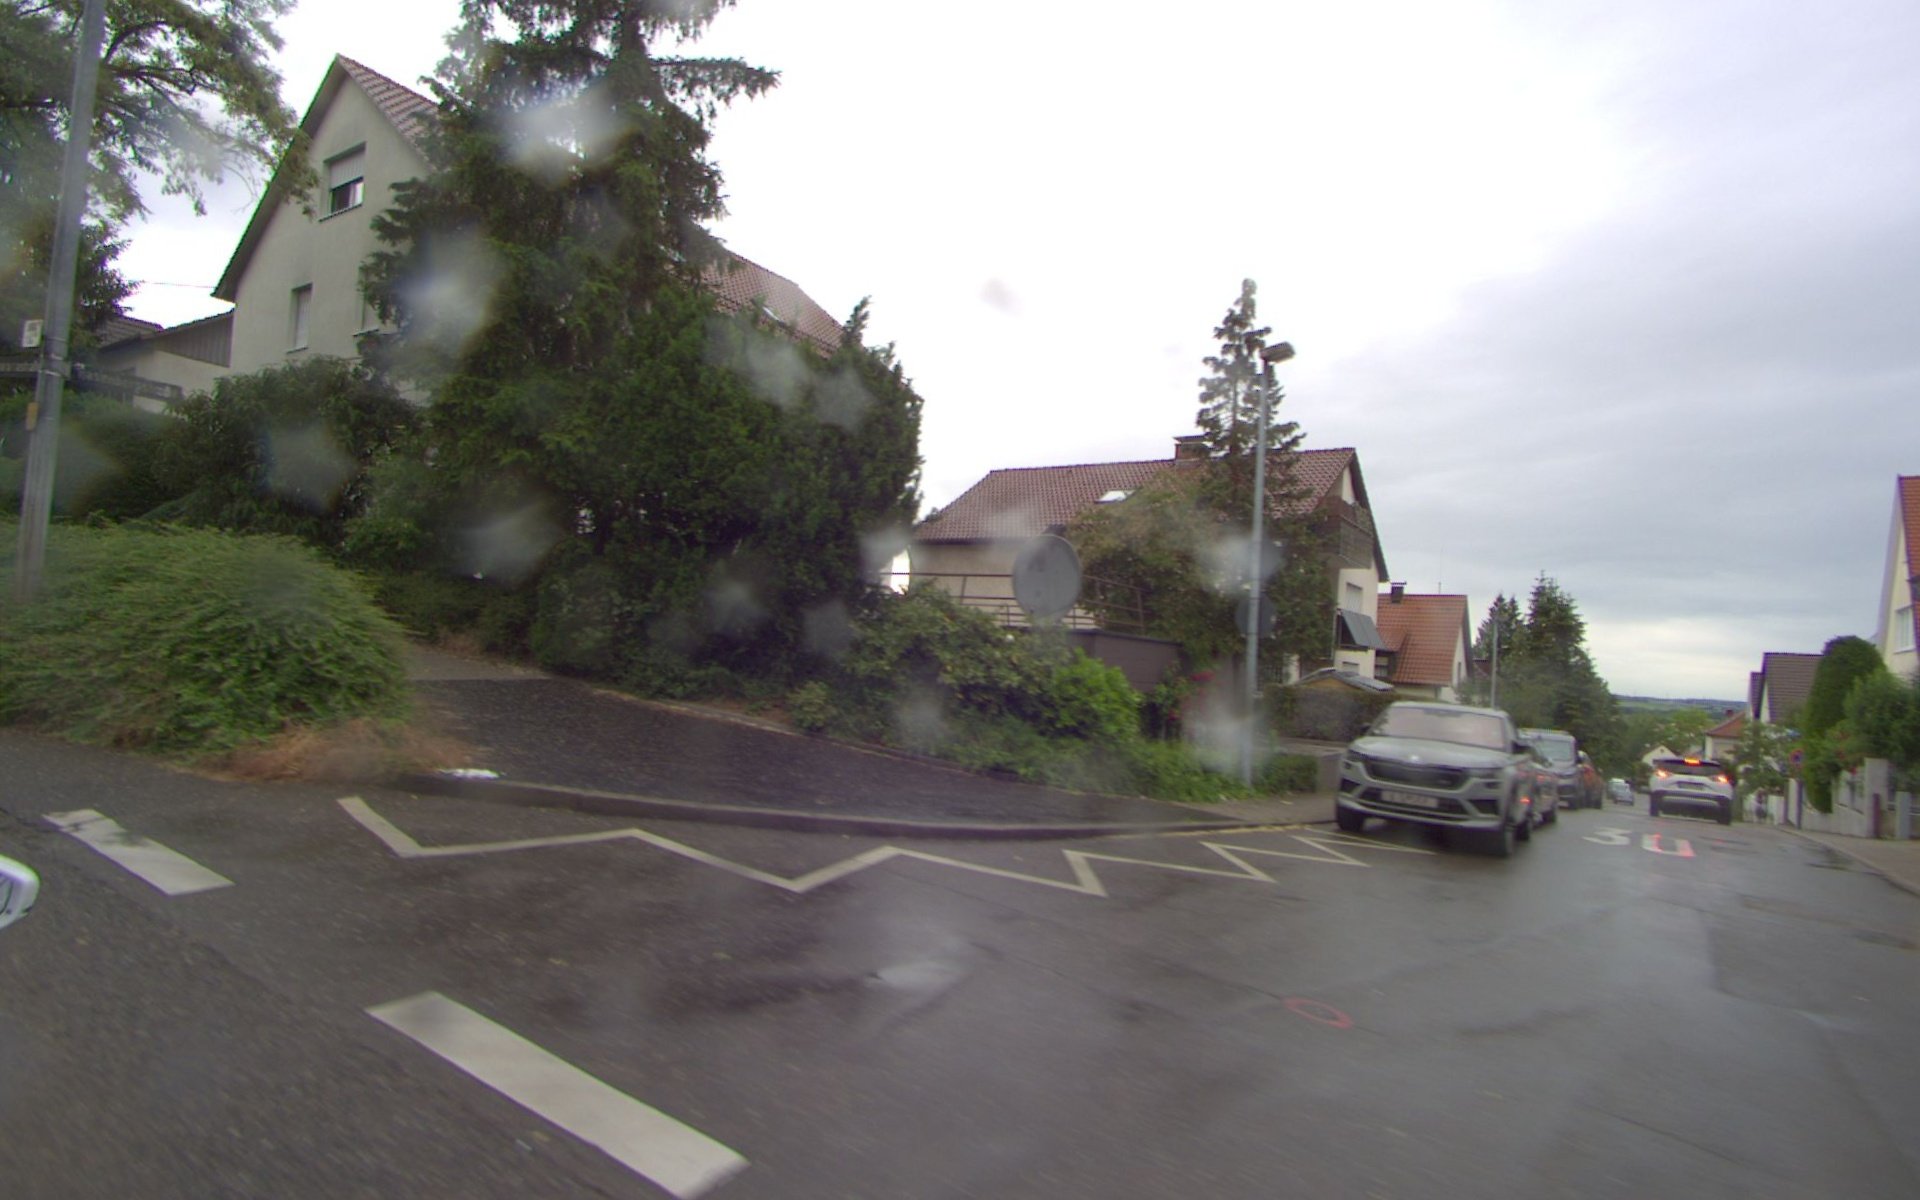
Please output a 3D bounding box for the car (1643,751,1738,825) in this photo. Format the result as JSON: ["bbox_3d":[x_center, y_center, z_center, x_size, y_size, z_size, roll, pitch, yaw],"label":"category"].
[{"bbox_3d":[19.175,4.925,26.548,1.768,1.593,3.997,3,-7,34],"label":"car"}]

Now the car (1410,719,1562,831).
[{"bbox_3d":[8.765,2.869,16.584,1.622,1.453,3.994,2,-7,36],"label":"car"}]

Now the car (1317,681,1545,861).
[{"bbox_3d":[6.046,2.091,12.581,1.892,1.667,4.446,3,-7,34],"label":"car"}]

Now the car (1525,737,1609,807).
[{"bbox_3d":[17.392,4.898,28.733,1.769,1.653,3.996,3,-7,34],"label":"car"}]

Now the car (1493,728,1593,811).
[{"bbox_3d":[14.312,4.132,24.601,1.769,1.653,3.996,3,-7,34],"label":"car"}]
